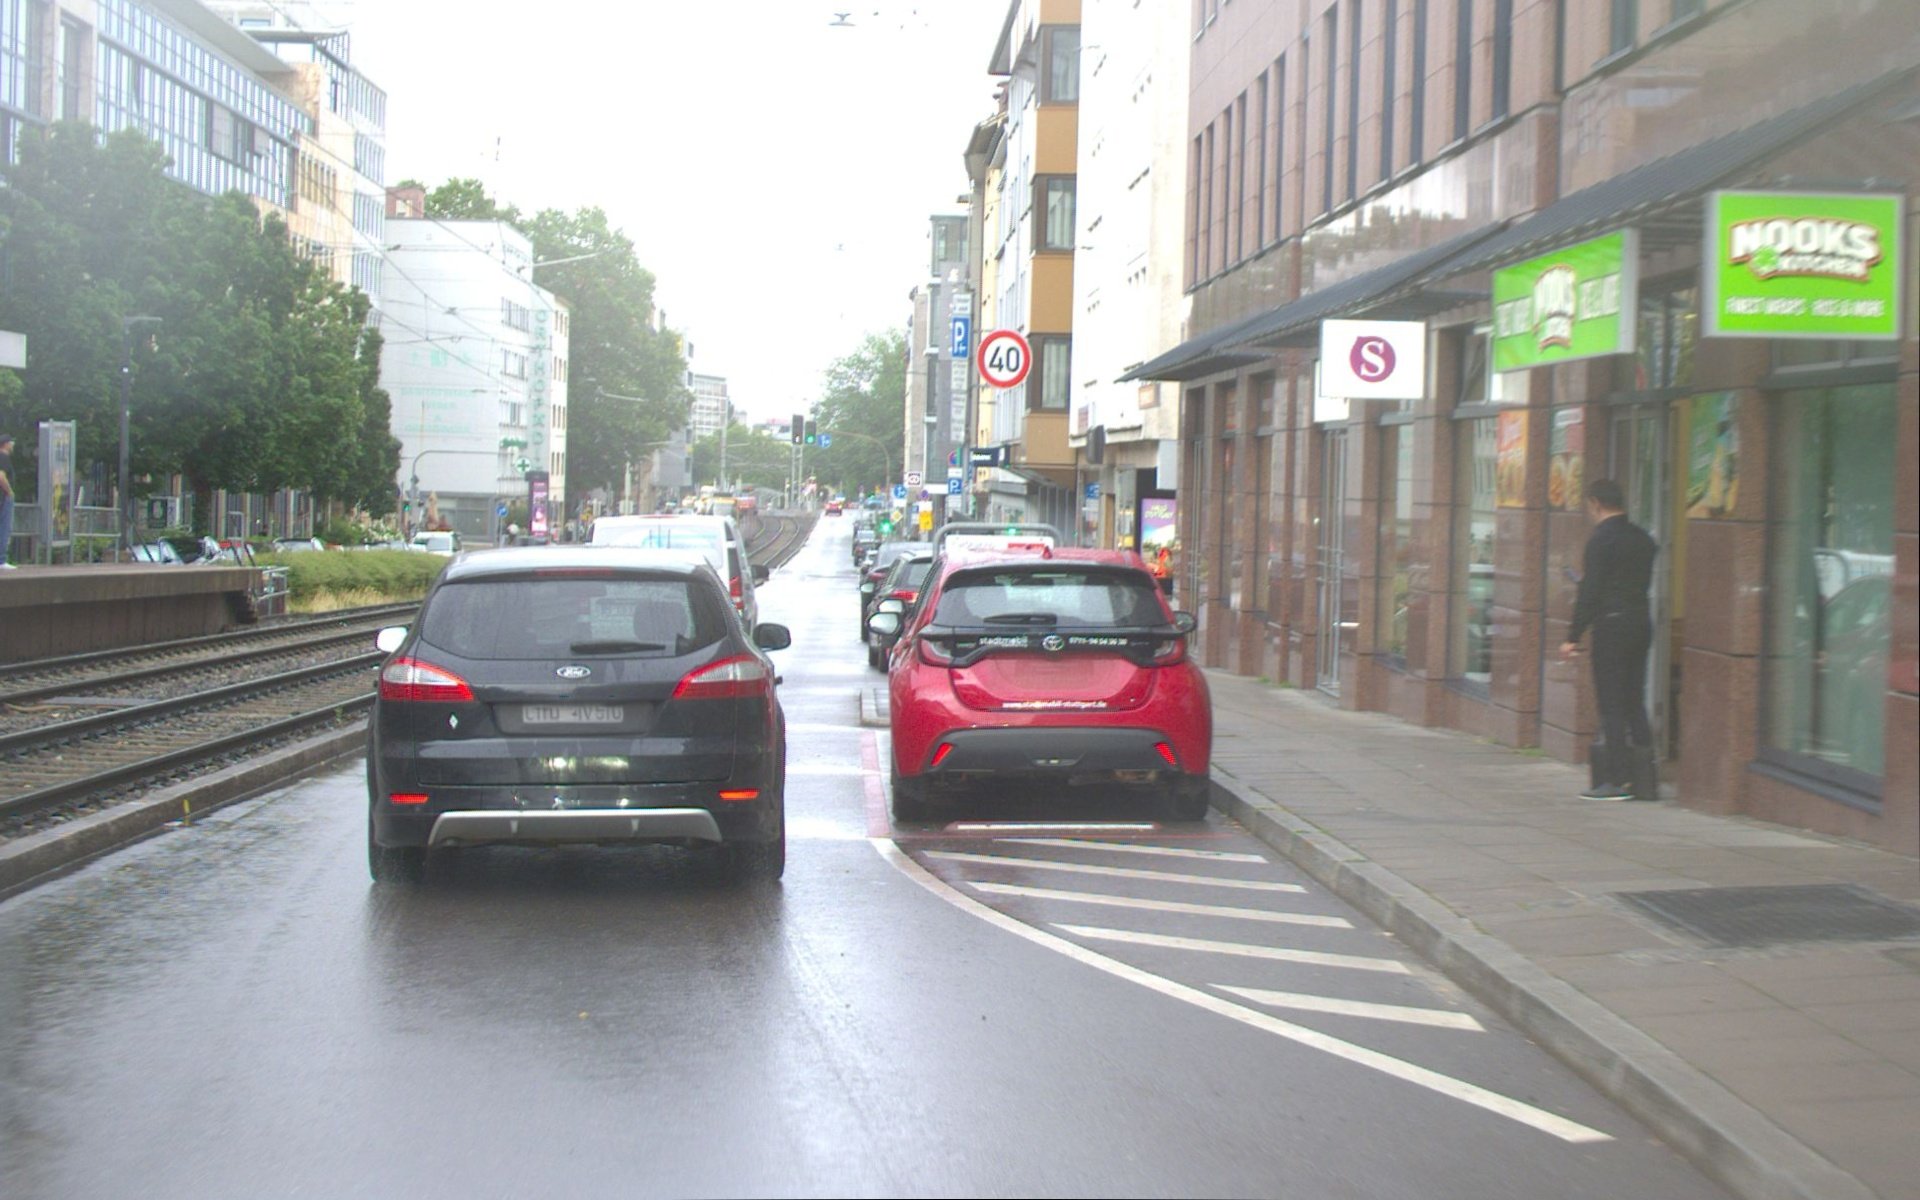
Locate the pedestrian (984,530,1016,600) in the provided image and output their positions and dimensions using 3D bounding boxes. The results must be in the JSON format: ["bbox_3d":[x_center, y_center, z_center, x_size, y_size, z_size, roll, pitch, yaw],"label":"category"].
[{"bbox_3d":[0.938,-0.823,80.858,0.695,1.646,0.966,1,0,-3],"label":"pedestrian"}]

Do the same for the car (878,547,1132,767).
[{"bbox_3d":[0.262,0.382,25.282,1.698,1.457,3.867,-1,0,-1],"label":"car"}]

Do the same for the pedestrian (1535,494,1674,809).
[{"bbox_3d":[3.454,0.272,18.450,0.601,1.654,0.625,0,0,-1],"label":"pedestrian"}]

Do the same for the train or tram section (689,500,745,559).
[{"bbox_3d":[-15.890,-4.558,224.405,3.512,3.764,11.333,1,1,-4],"label":"train or tram section"}]

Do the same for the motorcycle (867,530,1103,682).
[{"bbox_3d":[0.237,0.050,32.592,2.085,1.402,0.798,0,0,17],"label":"motorcycle"}]

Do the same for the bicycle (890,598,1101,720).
[{"bbox_3d":[0.299,0.508,29.564,1.786,1.027,0.462,0,0,-2],"label":"bicycle"}]

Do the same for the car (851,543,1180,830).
[{"bbox_3d":[0.278,0.449,19.954,1.698,1.474,3.867,-1,0,0],"label":"car"}]

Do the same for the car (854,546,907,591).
[{"bbox_3d":[-2.966,-1.158,128.695,1.906,1.628,4.574,1,0,-1],"label":"car"}]

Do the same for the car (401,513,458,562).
[{"bbox_3d":[-21.237,-2.499,137.758,1.906,1.858,4.574,1,0,-5],"label":"car"}]

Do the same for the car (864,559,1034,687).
[{"bbox_3d":[-0.190,0.243,42.436,1.774,1.463,4.610,1,1,-4],"label":"car"}]

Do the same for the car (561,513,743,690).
[{"bbox_3d":[-3.448,0.014,39.070,1.906,1.858,4.574,1,0,-4],"label":"car"}]

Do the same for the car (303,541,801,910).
[{"bbox_3d":[-1.727,0.504,15.607,1.906,1.457,3.445,1,0,-1],"label":"car"}]

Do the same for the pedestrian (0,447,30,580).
[{"bbox_3d":[-13.103,-1.171,46.859,0.655,1.795,0.850,1,1,-4],"label":"pedestrian"}]

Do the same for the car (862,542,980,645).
[{"bbox_3d":[-0.693,-0.130,57.272,1.807,1.626,5.170,1,1,-2],"label":"car"}]

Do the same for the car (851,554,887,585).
[{"bbox_3d":[-5.022,-1.674,190.652,1.906,1.628,4.574,1,0,-1],"label":"car"}]
